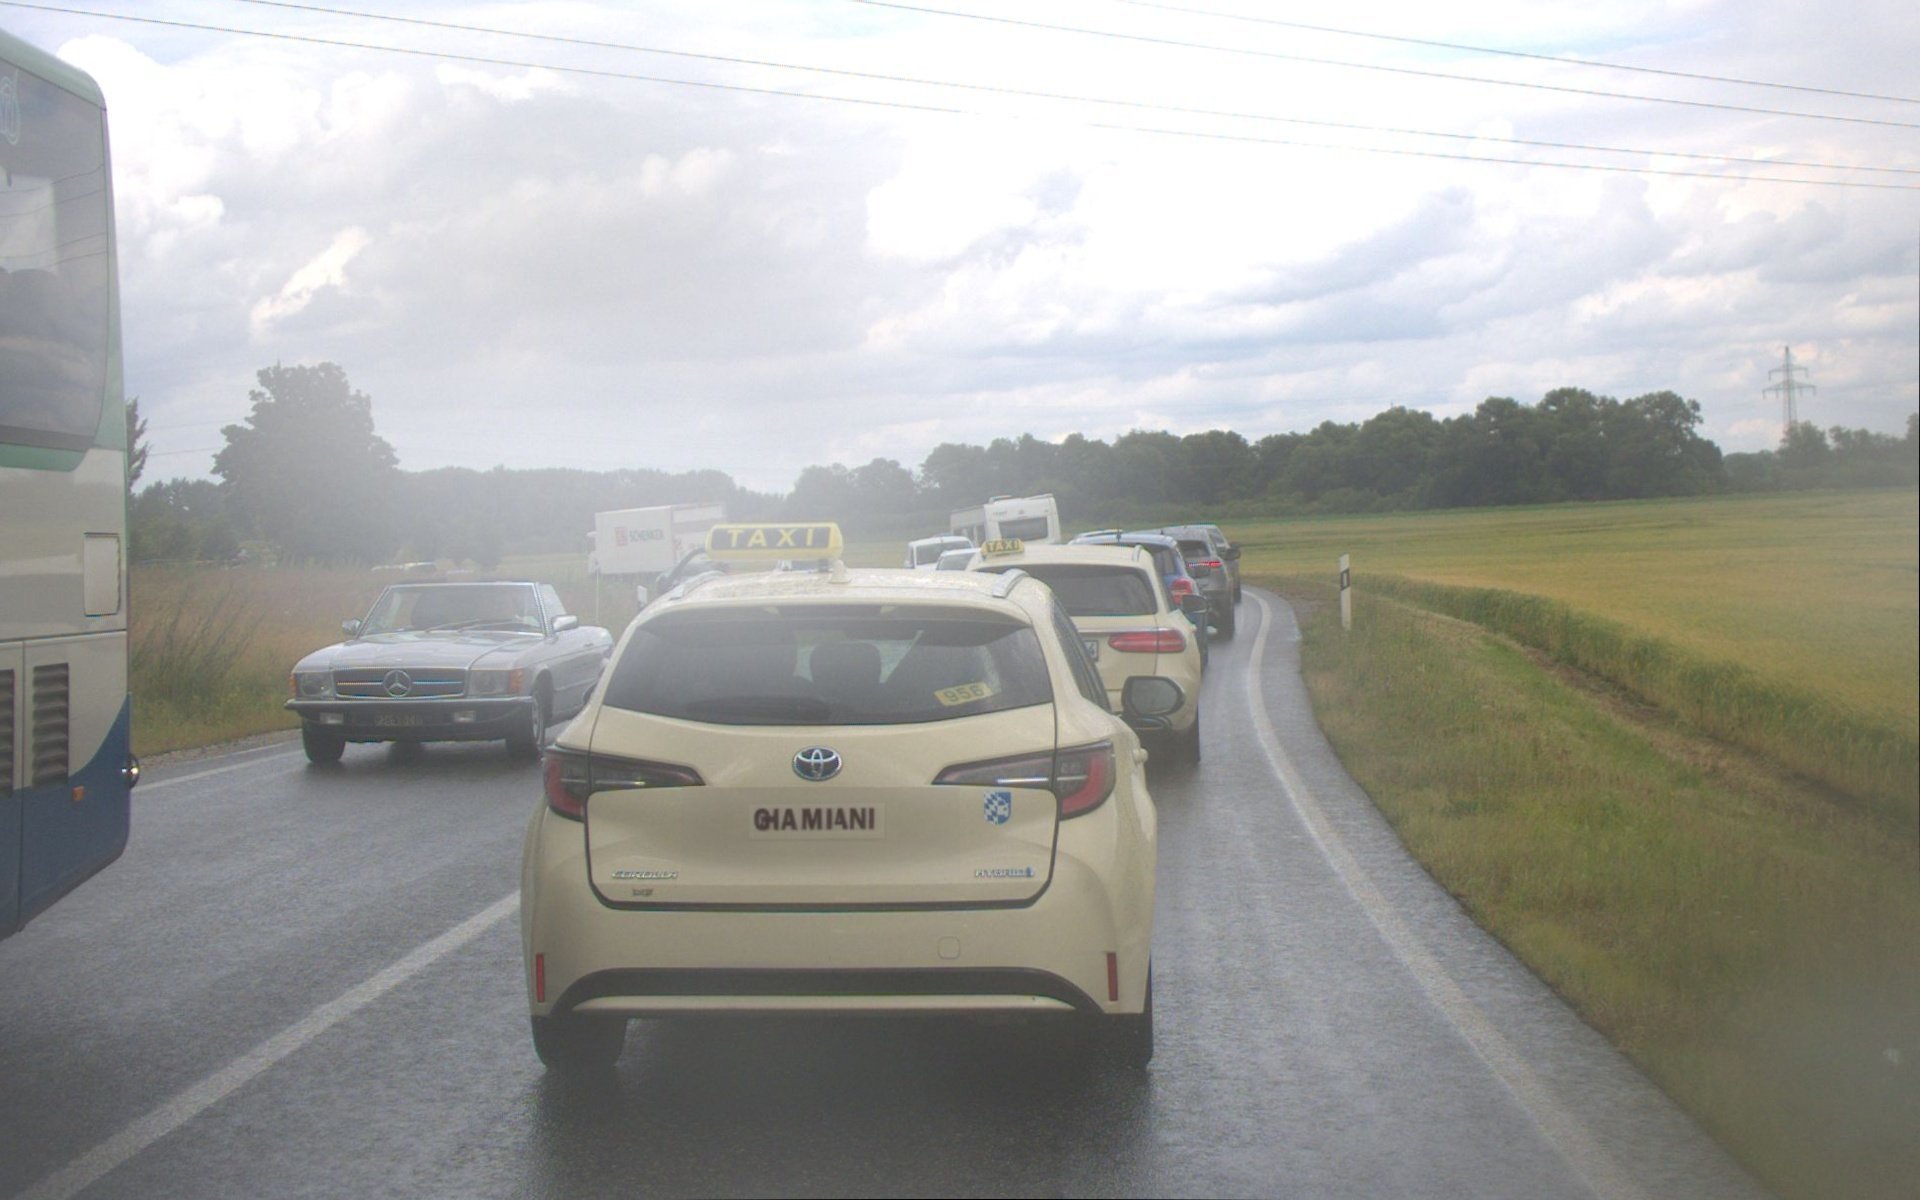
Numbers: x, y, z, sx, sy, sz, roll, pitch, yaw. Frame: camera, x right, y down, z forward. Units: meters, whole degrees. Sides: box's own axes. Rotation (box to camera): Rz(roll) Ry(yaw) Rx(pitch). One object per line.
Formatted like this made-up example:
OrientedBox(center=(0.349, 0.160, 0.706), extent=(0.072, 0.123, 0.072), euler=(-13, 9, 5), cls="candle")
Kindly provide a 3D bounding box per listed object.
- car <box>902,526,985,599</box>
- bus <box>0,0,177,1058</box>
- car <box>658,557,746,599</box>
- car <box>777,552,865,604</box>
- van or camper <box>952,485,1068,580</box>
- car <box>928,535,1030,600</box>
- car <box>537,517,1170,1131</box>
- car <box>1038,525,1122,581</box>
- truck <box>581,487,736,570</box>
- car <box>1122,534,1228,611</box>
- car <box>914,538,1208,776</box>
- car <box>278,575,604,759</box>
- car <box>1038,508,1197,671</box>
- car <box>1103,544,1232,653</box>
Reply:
OrientedBox(center=(-0.464, -0.974, 89.321), extent=(1.844, 1.849, 4.447), euler=(0, 1, -4), cls="car")
OrientedBox(center=(-4.152, -0.261, 5.742), extent=(2.758, 3.286, 12.503), euler=(0, 1, 0), cls="bus")
OrientedBox(center=(-9.465, -0.794, 125.952), extent=(1.848, 1.443, 4.091), euler=(-3, 1, -25), cls="car")
OrientedBox(center=(-4.566, -0.721, 112.392), extent=(1.848, 1.626, 4.536), euler=(-2, 1, -16), cls="car")
OrientedBox(center=(1.531, -2.120, 107.989), extent=(2.536, 2.886, 6.745), euler=(0, 1, -9), cls="van or camper")
OrientedBox(center=(0.385, -0.709, 74.950), extent=(1.844, 1.383, 4.288), euler=(0, 1, -5), cls="car")
OrientedBox(center=(-0.202, 0.575, 10.635), extent=(1.613, 1.557, 3.738), euler=(0, 0, 2), cls="car")
OrientedBox(center=(3.201, -1.245, 92.238), extent=(1.783, 1.408, 3.739), euler=(0, 0, -6), cls="car")
OrientedBox(center=(-12.414, -2.859, 140.758), extent=(3.013, 3.198, 8.233), euler=(0, 0, -31), cls="truck")
OrientedBox(center=(4.142, -0.503, 65.850), extent=(1.960, 1.408, 4.391), euler=(0, 0, 4), cls="car")
OrientedBox(center=(0.771, 0.320, 23.856), extent=(1.841, 1.487, 4.608), euler=(0, 1, 3), cls="car")
OrientedBox(center=(-3.750, 0.442, 25.458), extent=(1.719, 1.247, 4.000), euler=(0, 0, 1), cls="car")
OrientedBox(center=(1.697, -0.102, 36.909), extent=(1.613, 1.653, 3.738), euler=(0, 0, 3), cls="car")
OrientedBox(center=(2.851, -0.015, 46.699), extent=(1.613, 1.408, 3.737), euler=(0, 0, 5), cls="car")
